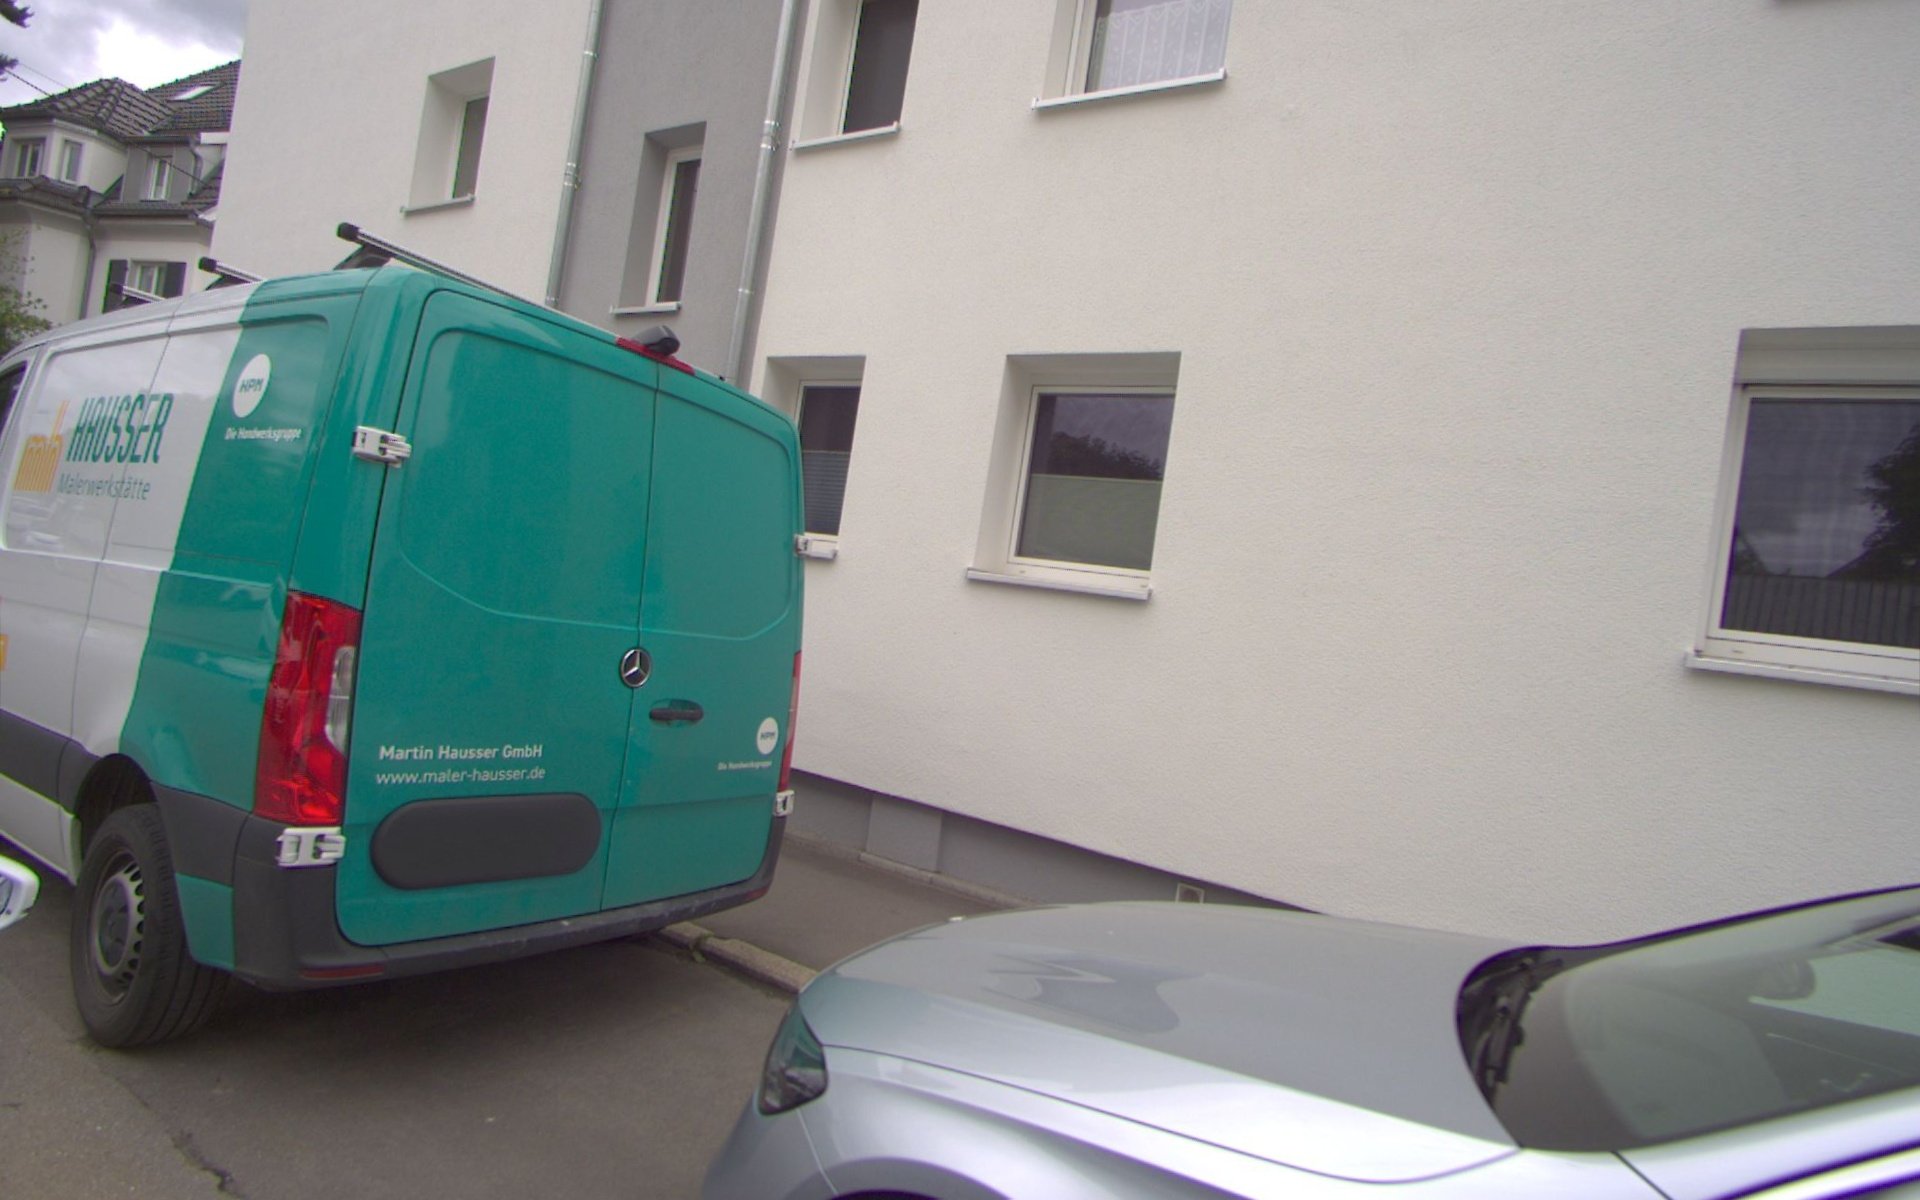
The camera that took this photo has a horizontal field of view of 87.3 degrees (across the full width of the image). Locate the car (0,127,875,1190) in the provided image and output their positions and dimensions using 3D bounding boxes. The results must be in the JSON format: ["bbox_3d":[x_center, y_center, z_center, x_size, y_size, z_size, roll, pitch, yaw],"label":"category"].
[{"bbox_3d":[-3.184,-0.008,4.566,5.207,2.450,1.997,6,-2,33],"label":"car"}]

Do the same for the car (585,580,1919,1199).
[{"bbox_3d":[1.653,0.991,1.413,4.312,1.460,1.829,6,-3,33],"label":"car"}]

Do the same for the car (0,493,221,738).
[{"bbox_3d":[-7.680,-0.106,7.526,4.214,1.503,1.823,8,-2,30],"label":"car"}]
